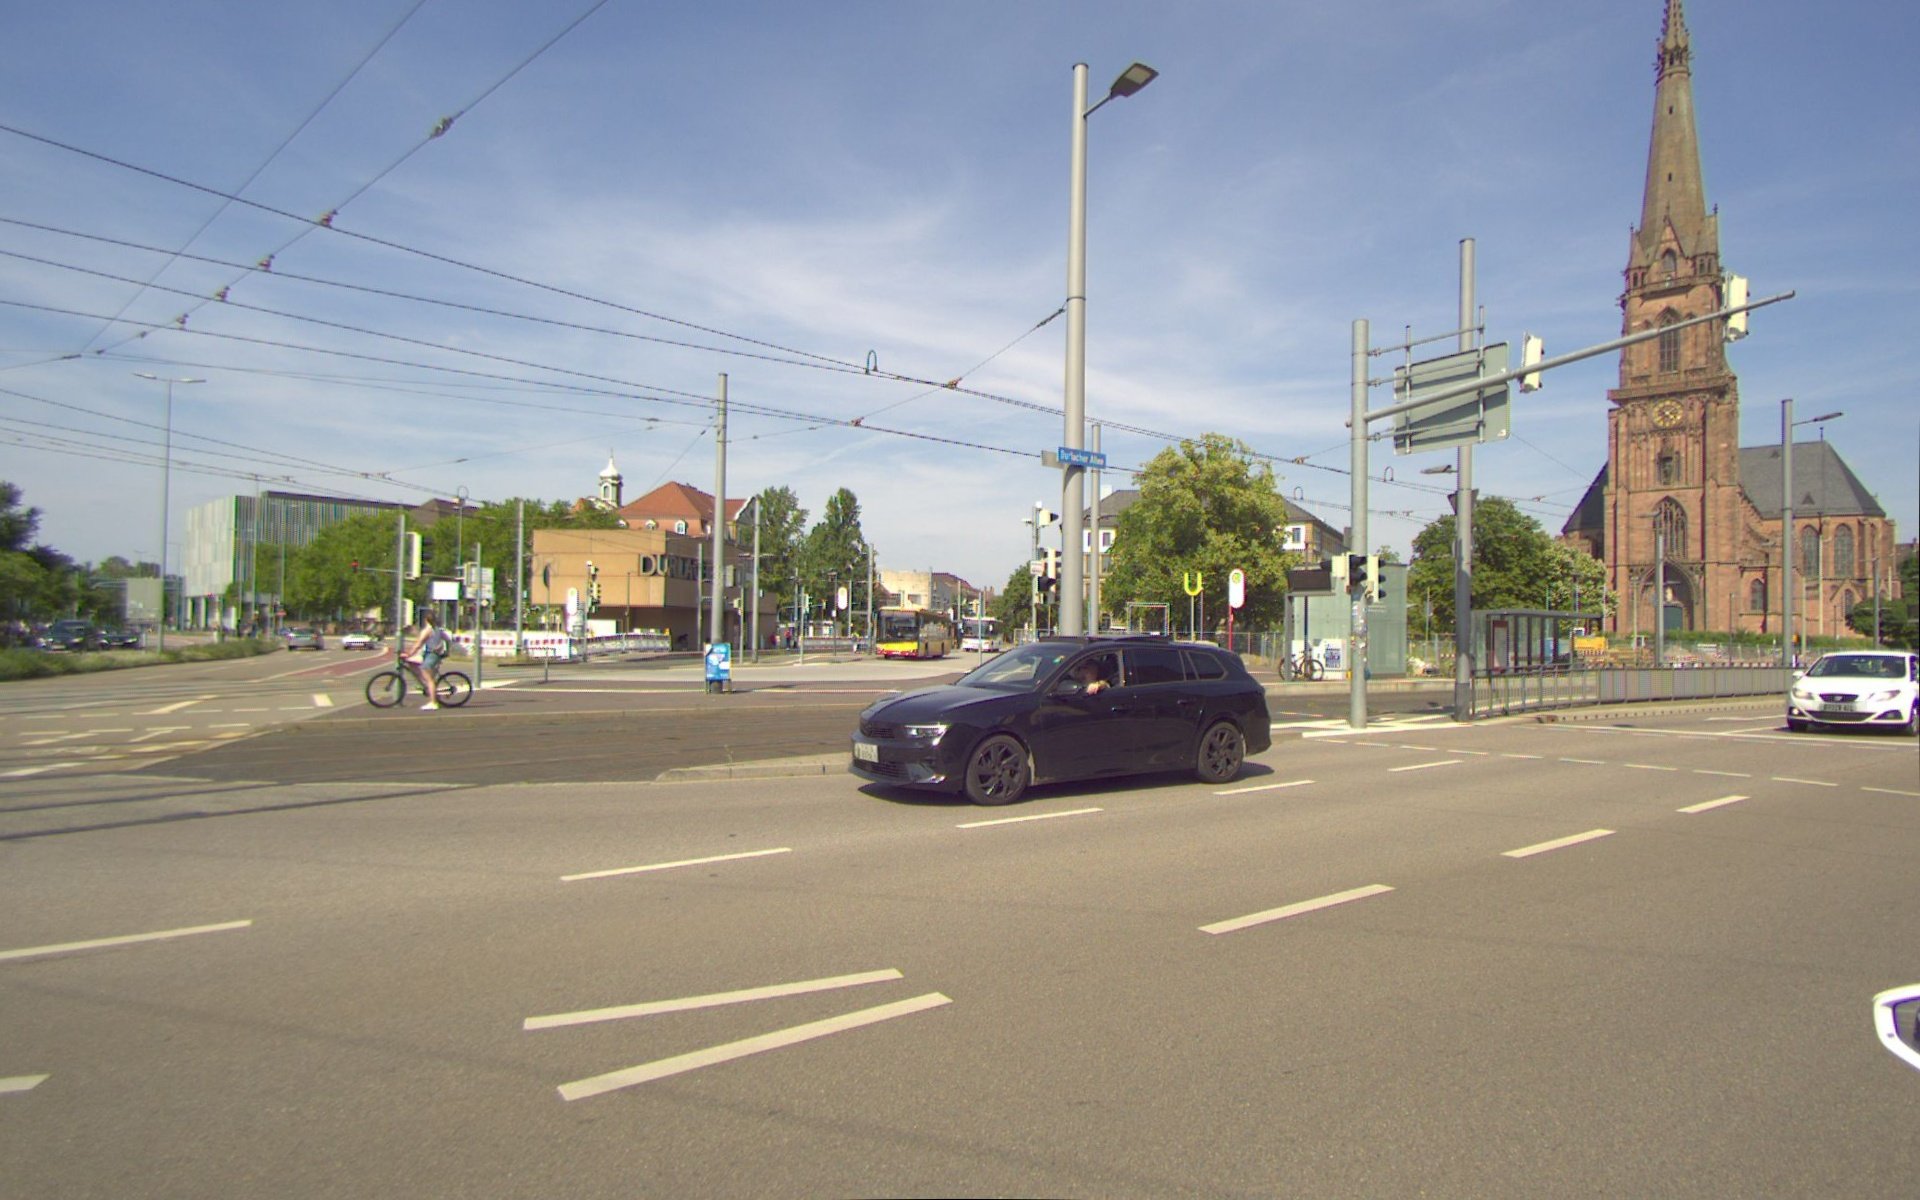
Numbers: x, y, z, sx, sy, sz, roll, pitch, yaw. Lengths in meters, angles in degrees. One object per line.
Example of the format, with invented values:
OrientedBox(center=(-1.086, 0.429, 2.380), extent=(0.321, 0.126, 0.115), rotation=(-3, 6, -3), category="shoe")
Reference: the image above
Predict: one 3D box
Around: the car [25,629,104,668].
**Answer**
OrientedBox(center=(-44.233, 2.372, 49.718), extent=(1.940, 1.817, 3.972), rotation=(2, -2, -27), category="car")

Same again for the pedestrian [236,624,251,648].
OrientedBox(center=(-50.717, 2.528, 71.113), extent=(0.634, 1.695, 0.749), rotation=(1, -2, -19), category="pedestrian")

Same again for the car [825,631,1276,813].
OrientedBox(center=(1.007, 1.078, 10.083), extent=(4.374, 1.475, 1.745), rotation=(2, -3, -32), category="car")

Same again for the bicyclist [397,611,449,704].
OrientedBox(center=(-10.133, 1.078, 18.972), extent=(0.767, 1.706, 0.746), rotation=(4, -3, -29), category="bicyclist")

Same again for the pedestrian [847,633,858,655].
OrientedBox(center=(-7.132, 2.915, 66.885), extent=(0.530, 1.384, 0.908), rotation=(-1, 0, -18), category="pedestrian")

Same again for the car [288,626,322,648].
OrientedBox(center=(-42.100, 2.369, 64.614), extent=(1.580, 1.304, 3.969), rotation=(-1, -1, -29), category="car")

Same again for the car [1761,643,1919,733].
OrientedBox(center=(16.050, 1.523, 17.850), extent=(4.085, 1.416, 1.743), rotation=(2, -6, -36), category="car")

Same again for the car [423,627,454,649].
OrientedBox(center=(-35.788, 2.573, 68.854), extent=(1.782, 1.439, 3.969), rotation=(-1, -1, -29), category="car")

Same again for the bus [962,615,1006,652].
OrientedBox(center=(2.469, 3.328, 98.373), extent=(2.702, 3.366, 11.799), rotation=(0, -2, 9), category="bus")

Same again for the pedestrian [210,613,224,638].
OrientedBox(center=(-51.901, 1.786, 70.123), extent=(0.533, 1.695, 0.749), rotation=(1, -2, -18), category="pedestrian")

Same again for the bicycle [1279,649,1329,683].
OrientedBox(center=(11.502, 2.191, 33.621), extent=(1.637, 1.085, 0.412), rotation=(-1, -2, -18), category="bicycle")

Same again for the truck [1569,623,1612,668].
OrientedBox(center=(53.562, 3.869, 85.389), extent=(2.976, 3.616, 6.030), rotation=(0, -2, 32), category="truck")

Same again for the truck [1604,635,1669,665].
OrientedBox(center=(62.001, 4.570, 92.167), extent=(2.358, 2.713, 4.378), rotation=(2, -2, -31), category="truck")

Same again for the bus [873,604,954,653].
OrientedBox(center=(-2.660, 1.684, 62.508), extent=(2.702, 2.718, 11.796), rotation=(-1, -1, 9), category="bus")

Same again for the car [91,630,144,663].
OrientedBox(center=(-51.942, 2.855, 62.020), extent=(1.980, 1.906, 4.388), rotation=(2, -2, -34), category="car")

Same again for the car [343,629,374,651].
OrientedBox(center=(-39.073, 2.594, 65.298), extent=(1.580, 1.304, 3.969), rotation=(-1, -1, -29), category="car")

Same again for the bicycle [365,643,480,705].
OrientedBox(center=(-10.122, 1.393, 18.961), extent=(1.827, 1.098, 0.746), rotation=(4, -3, -29), category="bicycle")
